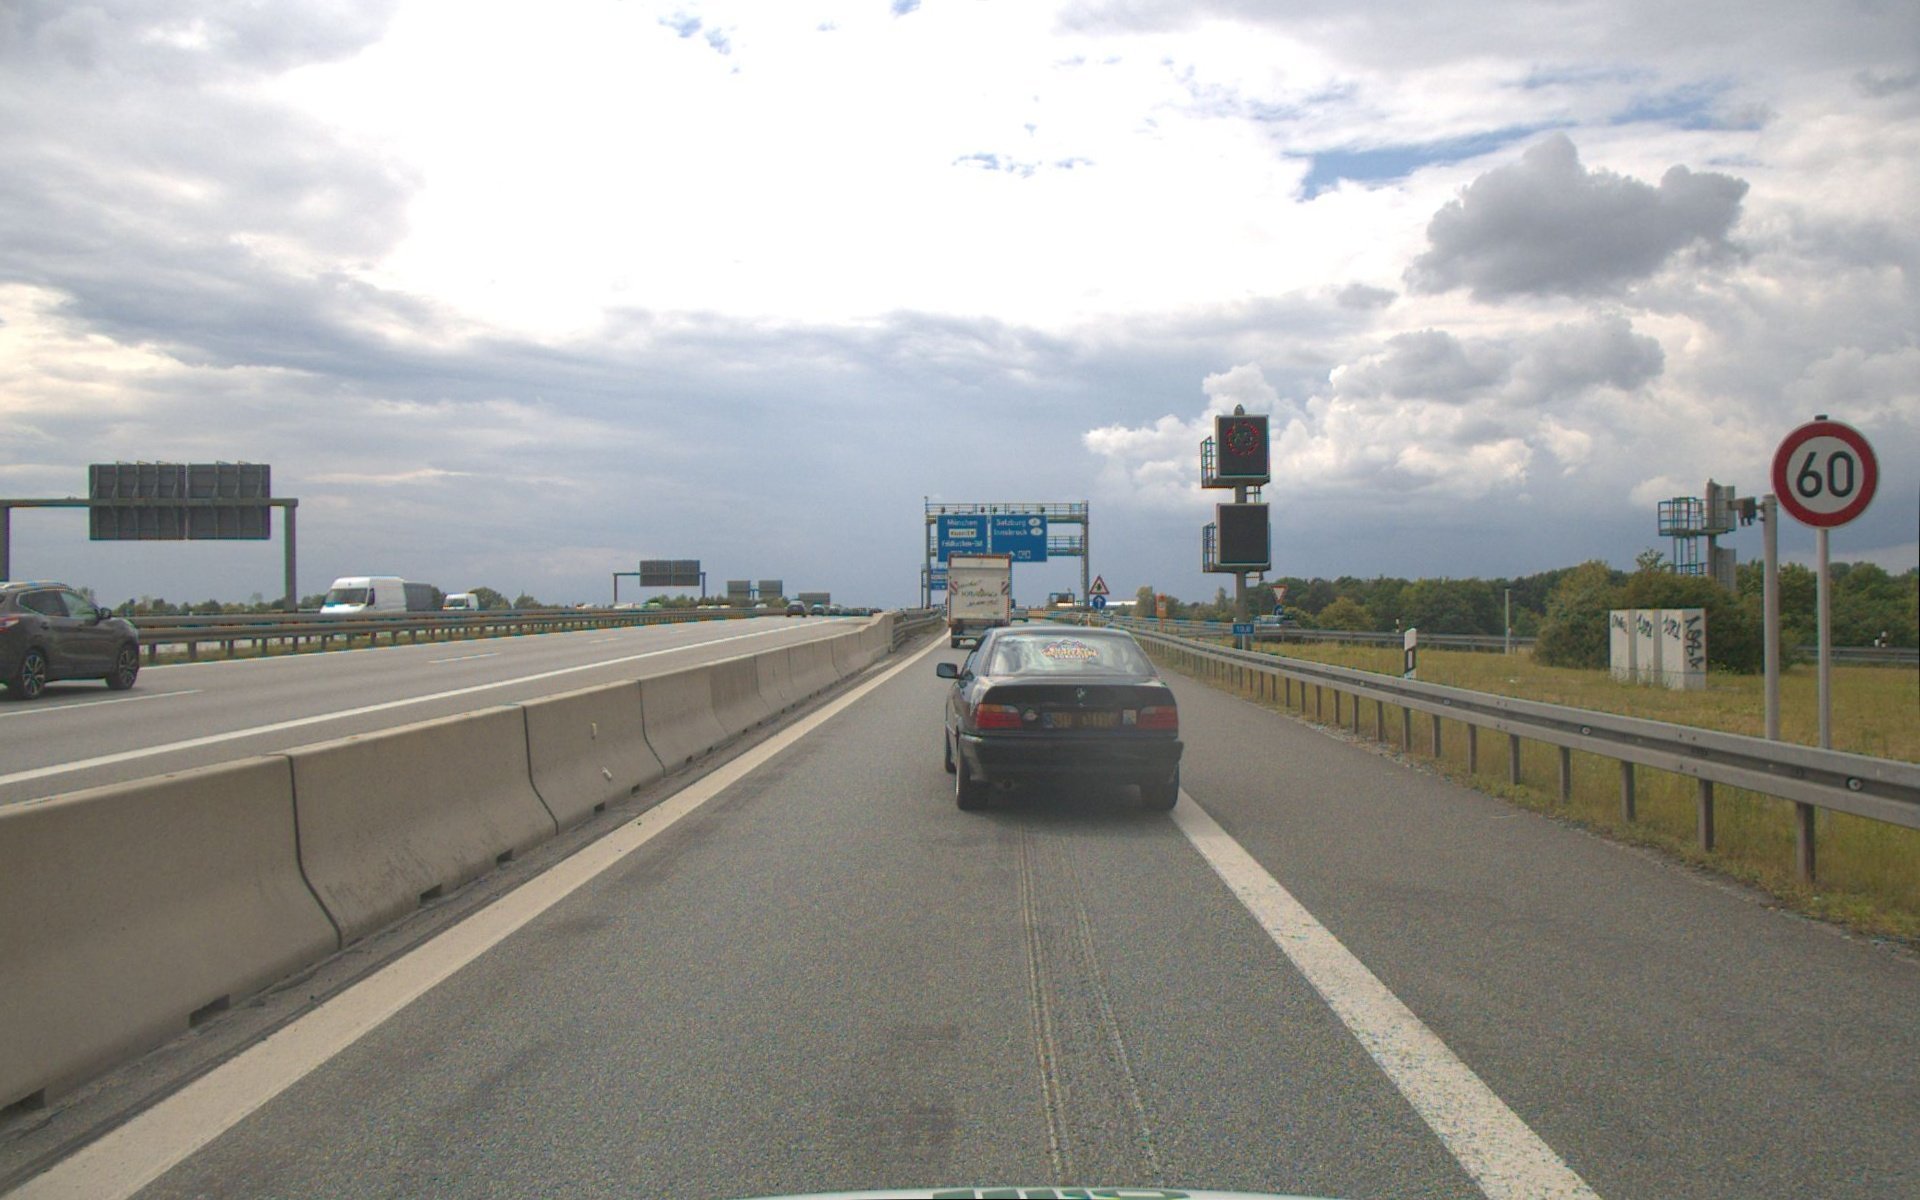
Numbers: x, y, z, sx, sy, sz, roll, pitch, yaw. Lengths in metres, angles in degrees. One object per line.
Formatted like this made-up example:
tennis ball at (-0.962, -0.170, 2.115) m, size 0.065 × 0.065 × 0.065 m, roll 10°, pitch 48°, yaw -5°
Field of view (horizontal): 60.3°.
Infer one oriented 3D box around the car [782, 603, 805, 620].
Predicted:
car at (-17.102, 1.141, 170.058) m, size 1.953 × 1.691 × 4.382 m, roll 1°, pitch 0°, yaw -2°

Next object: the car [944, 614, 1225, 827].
car at (0.835, 0.843, 13.333) m, size 1.747 × 1.402 × 4.134 m, roll 1°, pitch 0°, yaw -3°

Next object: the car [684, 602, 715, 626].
car at (-19.342, 1.005, 122.928) m, size 1.633 × 1.736 × 4.000 m, roll 1°, pitch 0°, yaw 1°

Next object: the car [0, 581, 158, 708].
car at (-13.318, 0.564, 23.473) m, size 1.854 × 1.625 × 4.415 m, roll 1°, pitch 0°, yaw -3°

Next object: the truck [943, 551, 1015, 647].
truck at (0.622, -0.029, 58.179) m, size 2.355 × 3.144 × 6.369 m, roll 1°, pitch 0°, yaw 0°

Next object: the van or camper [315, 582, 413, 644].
van or camper at (-26.770, 0.573, 74.613) m, size 2.143 × 2.665 × 6.901 m, roll 1°, pitch 0°, yaw -2°

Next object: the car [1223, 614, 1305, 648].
car at (15.140, 1.545, 82.536) m, size 1.973 × 1.579 × 3.959 m, roll 2°, pitch -1°, yaw -30°

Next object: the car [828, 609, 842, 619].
car at (-19.109, 2.157, 253.010) m, size 1.953 × 1.422 × 3.998 m, roll 1°, pitch 0°, yaw -3°
